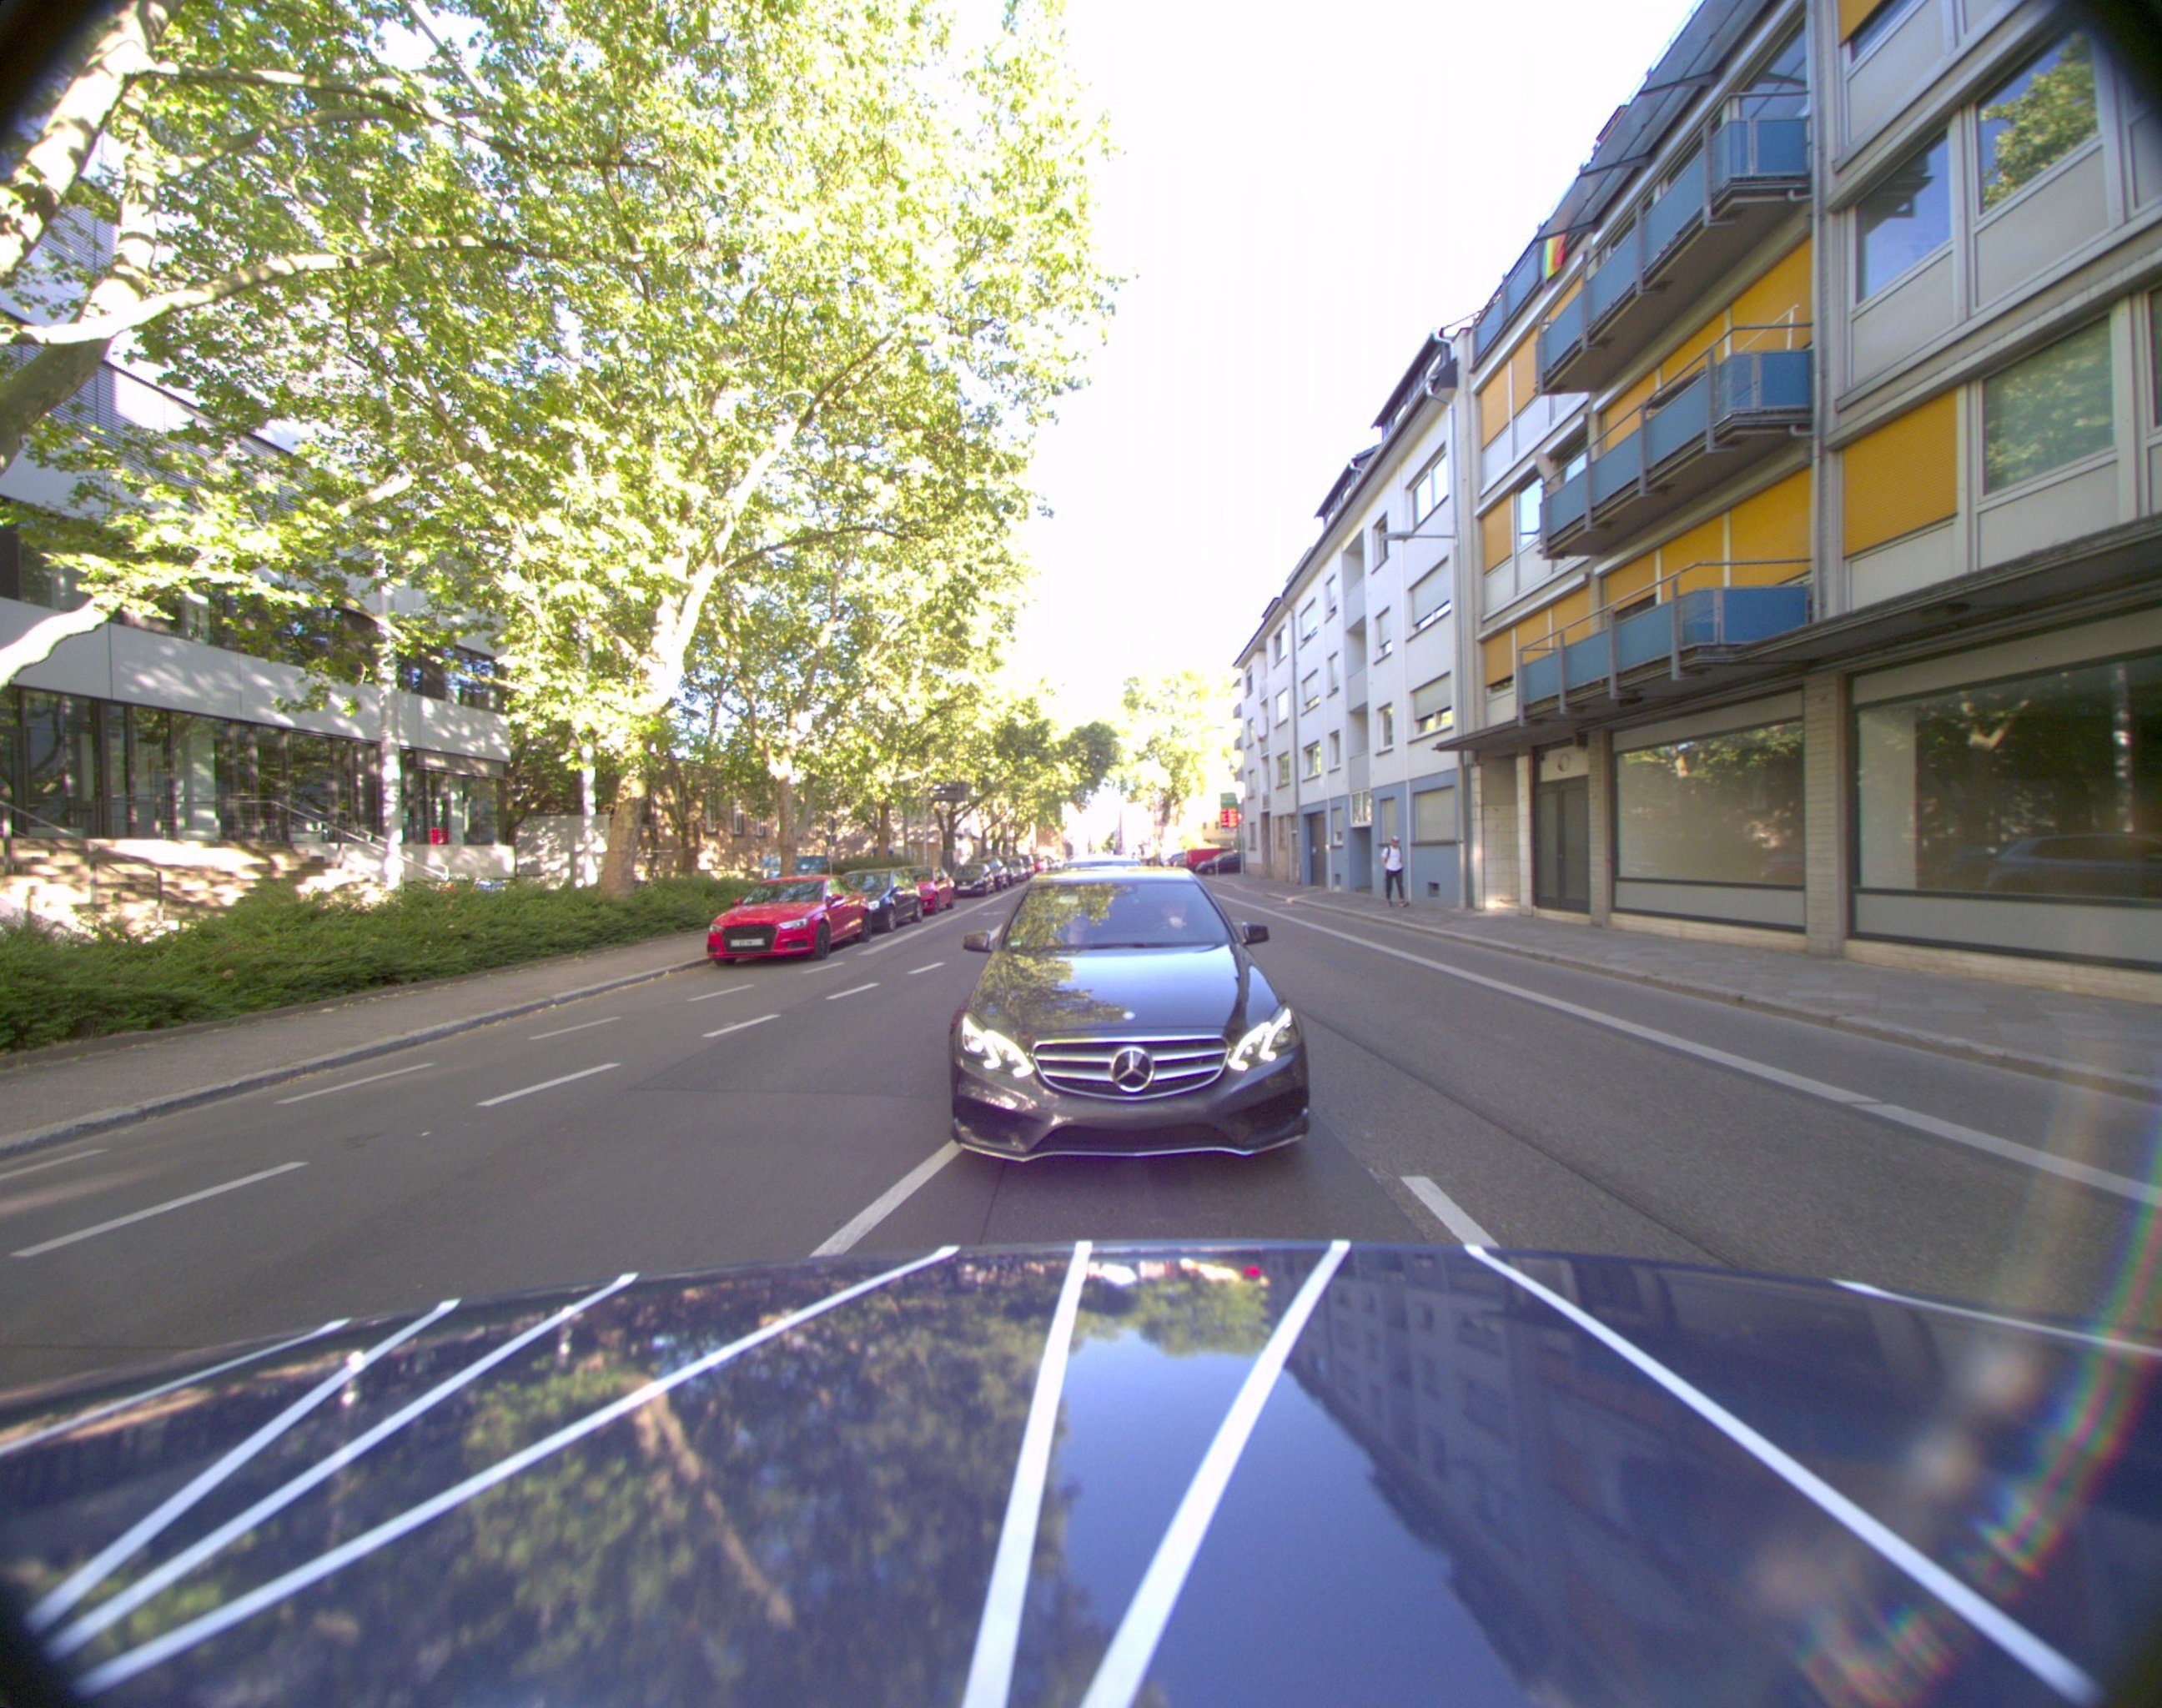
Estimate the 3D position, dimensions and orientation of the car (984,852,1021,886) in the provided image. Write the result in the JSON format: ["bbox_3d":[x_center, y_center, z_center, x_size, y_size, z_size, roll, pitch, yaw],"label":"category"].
[{"bbox_3d":[-4.492,0.840,44.092,1.635,1.795,3.845,-3,0,1],"label":"car"}]

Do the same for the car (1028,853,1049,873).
[{"bbox_3d":[-3.933,0.812,70.722,1.635,1.713,3.673,-3,0,1],"label":"car"}]

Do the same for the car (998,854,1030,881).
[{"bbox_3d":[-4.420,0.881,50.759,1.635,1.644,3.845,-3,0,1],"label":"car"}]

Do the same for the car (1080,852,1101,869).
[{"bbox_3d":[0.910,0.579,72.948,1.853,1.455,4.099,-3,0,1],"label":"car"}]

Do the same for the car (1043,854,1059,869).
[{"bbox_3d":[-3.598,0.898,92.163,1.635,1.713,3.673,-3,0,1],"label":"car"}]

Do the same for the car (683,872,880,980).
[{"bbox_3d":[-5.151,1.156,13.746,1.804,1.455,4.125,-3,0,1],"label":"car"}]

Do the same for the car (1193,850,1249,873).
[{"bbox_3d":[10.074,0.543,54.694,3.670,1.403,1.636,-3,0,1],"label":"car"}]

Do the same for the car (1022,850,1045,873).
[{"bbox_3d":[-4.134,0.620,66.091,1.635,1.878,3.673,-3,0,1],"label":"car"}]

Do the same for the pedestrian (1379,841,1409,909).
[{"bbox_3d":[8.018,0.530,19.474,0.569,1.716,0.343,-3,1,1],"label":"pedestrian"}]

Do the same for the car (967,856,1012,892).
[{"bbox_3d":[-4.531,0.958,38.056,1.635,1.578,3.845,-3,0,1],"label":"car"}]

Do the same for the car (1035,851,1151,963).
[{"bbox_3d":[0.212,0.807,13.678,1.680,1.622,4.125,-3,0,1],"label":"car"}]

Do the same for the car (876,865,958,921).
[{"bbox_3d":[-4.997,1.136,23.654,1.635,1.455,3.740,-3,0,1],"label":"car"}]

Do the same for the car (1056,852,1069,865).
[{"bbox_3d":[-2.695,0.681,109.635,1.635,1.713,3.673,-3,0,1],"label":"car"}]

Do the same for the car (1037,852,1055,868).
[{"bbox_3d":[-3.947,0.692,86.073,1.635,1.713,3.673,-3,0,1],"label":"car"}]

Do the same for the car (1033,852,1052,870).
[{"bbox_3d":[-3.898,0.714,78.263,1.635,1.713,3.673,-3,0,1],"label":"car"}]

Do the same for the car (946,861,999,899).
[{"bbox_3d":[-4.694,1.083,33.287,1.635,1.455,3.740,-3,0,1],"label":"car"}]

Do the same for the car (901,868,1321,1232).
[{"bbox_3d":[0.161,0.914,5.453,1.804,1.455,4.125,-3,0,1],"label":"car"}]

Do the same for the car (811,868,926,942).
[{"bbox_3d":[-5.014,1.153,18.453,1.635,1.455,3.740,-3,0,1],"label":"car"}]

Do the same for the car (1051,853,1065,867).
[{"bbox_3d":[-3.042,0.761,102.755,1.635,1.713,3.673,-3,0,1],"label":"car"}]

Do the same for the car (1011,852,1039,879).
[{"bbox_3d":[-4.083,0.812,55.591,1.635,1.799,3.673,-3,0,1],"label":"car"}]

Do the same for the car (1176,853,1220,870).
[{"bbox_3d":[9.627,0.617,62.634,3.325,1.241,1.295,-3,0,1],"label":"car"}]

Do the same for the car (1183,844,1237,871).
[{"bbox_3d":[10.154,0.248,59.991,3.927,1.912,1.636,-3,0,1],"label":"car"}]
